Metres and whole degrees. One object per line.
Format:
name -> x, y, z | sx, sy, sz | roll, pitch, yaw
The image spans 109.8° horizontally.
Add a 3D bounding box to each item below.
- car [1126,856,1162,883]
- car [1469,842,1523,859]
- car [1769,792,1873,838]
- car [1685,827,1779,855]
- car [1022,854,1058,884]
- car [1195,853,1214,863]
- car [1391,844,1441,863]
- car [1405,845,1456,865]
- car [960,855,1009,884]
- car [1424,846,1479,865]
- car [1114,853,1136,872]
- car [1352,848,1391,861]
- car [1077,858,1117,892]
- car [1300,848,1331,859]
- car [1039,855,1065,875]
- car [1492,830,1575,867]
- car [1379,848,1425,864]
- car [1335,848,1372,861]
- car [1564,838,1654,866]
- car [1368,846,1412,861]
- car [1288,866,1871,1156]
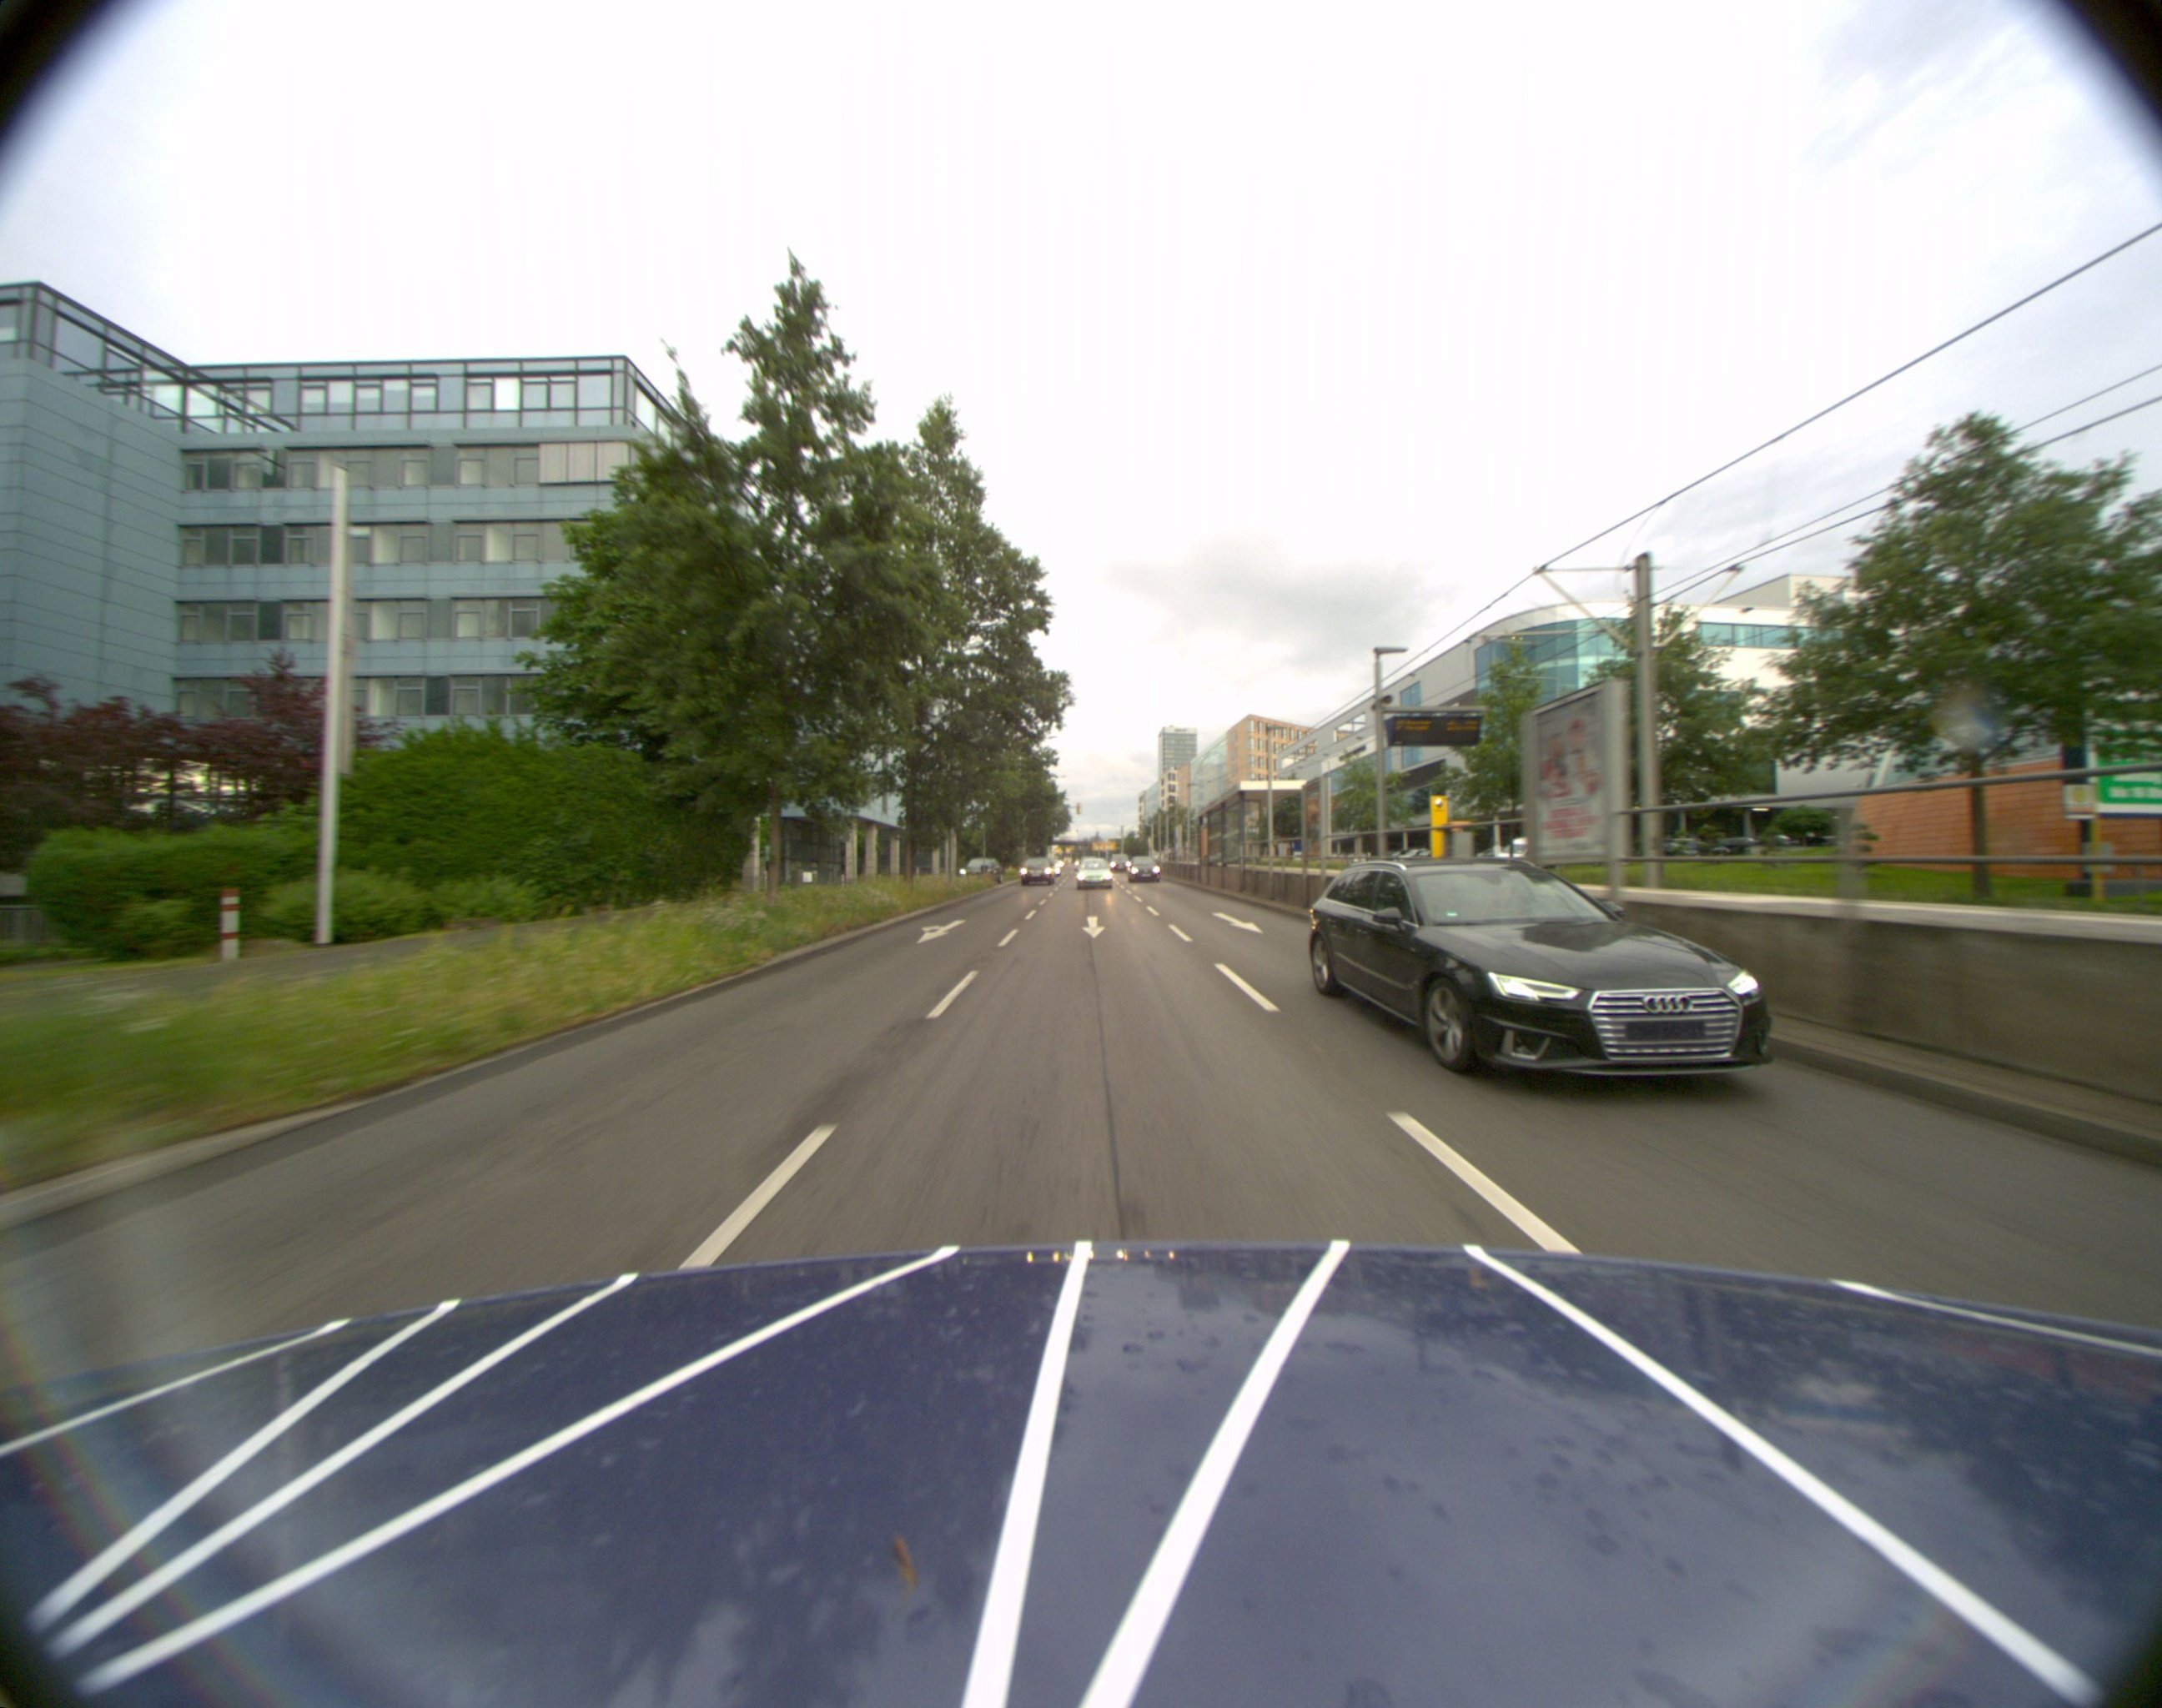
car -> 3.661, 0.881, 44.819 | 1.798, 1.493, 4.000 | -1, 0, 1
car -> 38.496, -0.326, 70.559 | 1.775, 1.460, 3.989 | -2, 0, -38
car -> 58.161, -3.019, 59.829 | 5.483, 3.253, 2.999 | -2, 1, -6
car -> 49.737, -1.004, 58.109 | 5.483, 1.915, 2.278 | -2, 1, -6
car -> -2.367, 0.858, 45.146 | 1.816, 1.660, 4.548 | -1, 0, 1
car -> 18.918, 0.668, 116.463 | 1.998, 1.381, 4.873 | -2, 1, 1
car -> 33.223, -0.079, 75.448 | 3.999, 1.652, 1.921 | -4, 0, -6
car -> 33.417, 0.116, 72.721 | 3.999, 1.652, 1.921 | -3, 0, -6
car -> -5.841, 0.904, 46.474 | 1.814, 1.660, 4.373 | -1, 0, 9
car -> 33.006, 0.149, 67.724 | 3.999, 1.499, 1.896 | -2, 1, -8
car -> 4.016, 0.730, 69.573 | 1.781, 1.670, 4.131 | -1, 0, 1
car -> 33.346, 0.063, 87.201 | 3.845, 1.482, 1.821 | -1, 0, -18
car -> 0.771, 0.975, 37.353 | 1.803, 1.533, 4.374 | -1, 0, 1
car -> 32.660, -0.092, 105.878 | 3.845, 1.482, 1.821 | -1, 0, -18
car -> -2.333, 0.895, 62.605 | 1.873, 1.533, 4.106 | -1, 0, 1
car -> 34.454, -0.431, 57.830 | 5.488, 2.614, 2.275 | -2, 1, -17
car -> 33.005, 0.191, 78.242 | 3.999, 1.482, 1.823 | -1, 0, -6
car -> 33.067, 0.011, 92.256 | 3.845, 1.482, 1.821 | -1, 0, -18
car -> 40.523, -0.166, 58.432 | 5.483, 1.915, 2.278 | -2, 1, -6
car -> 33.229, -0.042, 81.655 | 3.999, 1.482, 1.823 | -1, 0, -6
car -> 3.300, 0.873, 6.445 | 1.794, 1.426, 4.828 | -1, 0, 1
